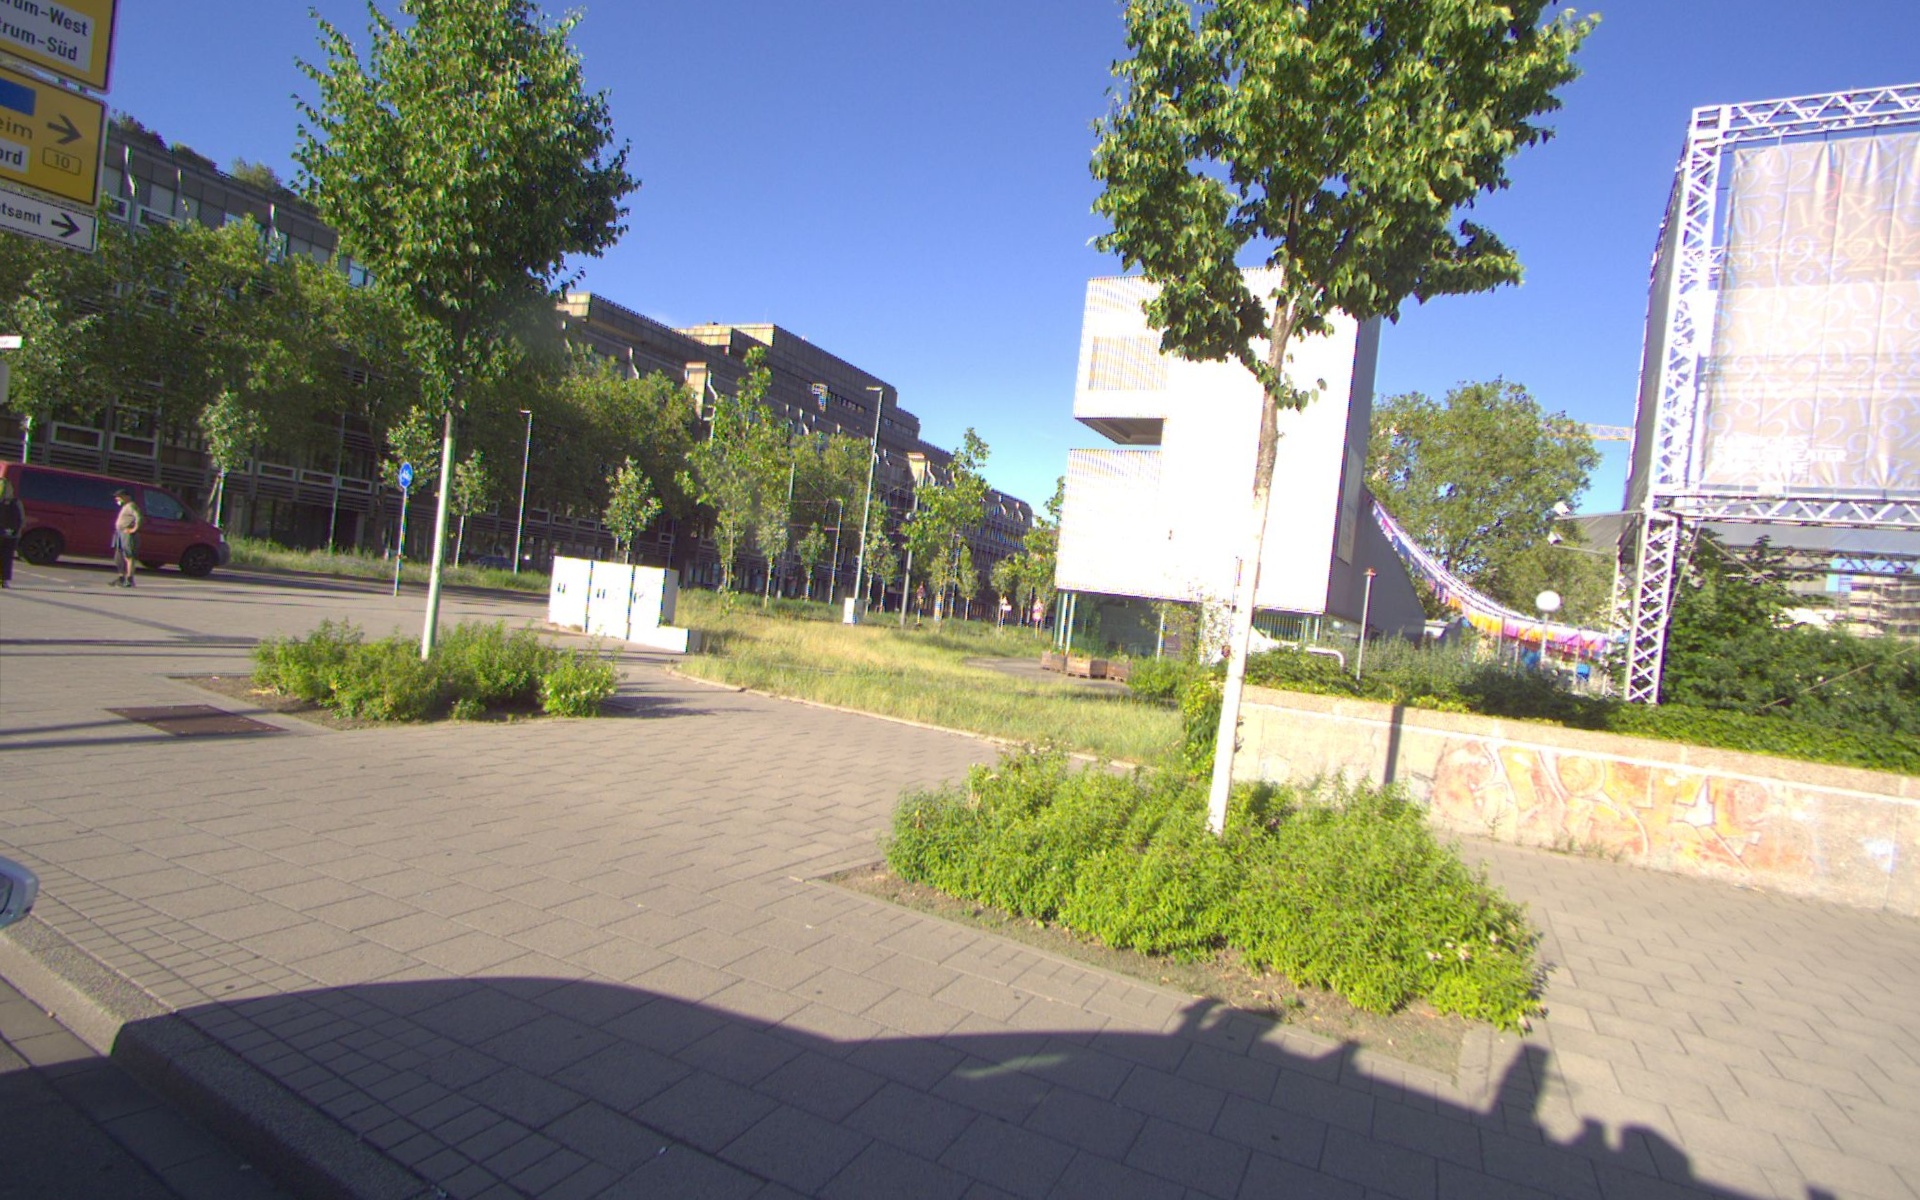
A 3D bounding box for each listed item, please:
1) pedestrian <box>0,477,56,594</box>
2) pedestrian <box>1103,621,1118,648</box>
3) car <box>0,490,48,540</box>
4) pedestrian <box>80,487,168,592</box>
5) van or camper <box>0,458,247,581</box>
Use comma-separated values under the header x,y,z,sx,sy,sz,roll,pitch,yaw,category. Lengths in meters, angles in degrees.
x,y,z,sx,sy,sz,roll,pitch,yaw,category
-14.167,-0.979,14.943,0.859,1.634,0.767,7,1,30,pedestrian
9.181,2.116,61.246,0.520,1.571,0.638,7,-1,31,pedestrian
-37.633,-3.464,37.598,1.794,1.704,4.854,7,-1,28,car
-14.937,-1.075,17.983,0.755,1.728,0.873,7,1,30,pedestrian
-18.701,-1.693,21.876,1.969,2.038,4.844,7,-1,19,van or camper
